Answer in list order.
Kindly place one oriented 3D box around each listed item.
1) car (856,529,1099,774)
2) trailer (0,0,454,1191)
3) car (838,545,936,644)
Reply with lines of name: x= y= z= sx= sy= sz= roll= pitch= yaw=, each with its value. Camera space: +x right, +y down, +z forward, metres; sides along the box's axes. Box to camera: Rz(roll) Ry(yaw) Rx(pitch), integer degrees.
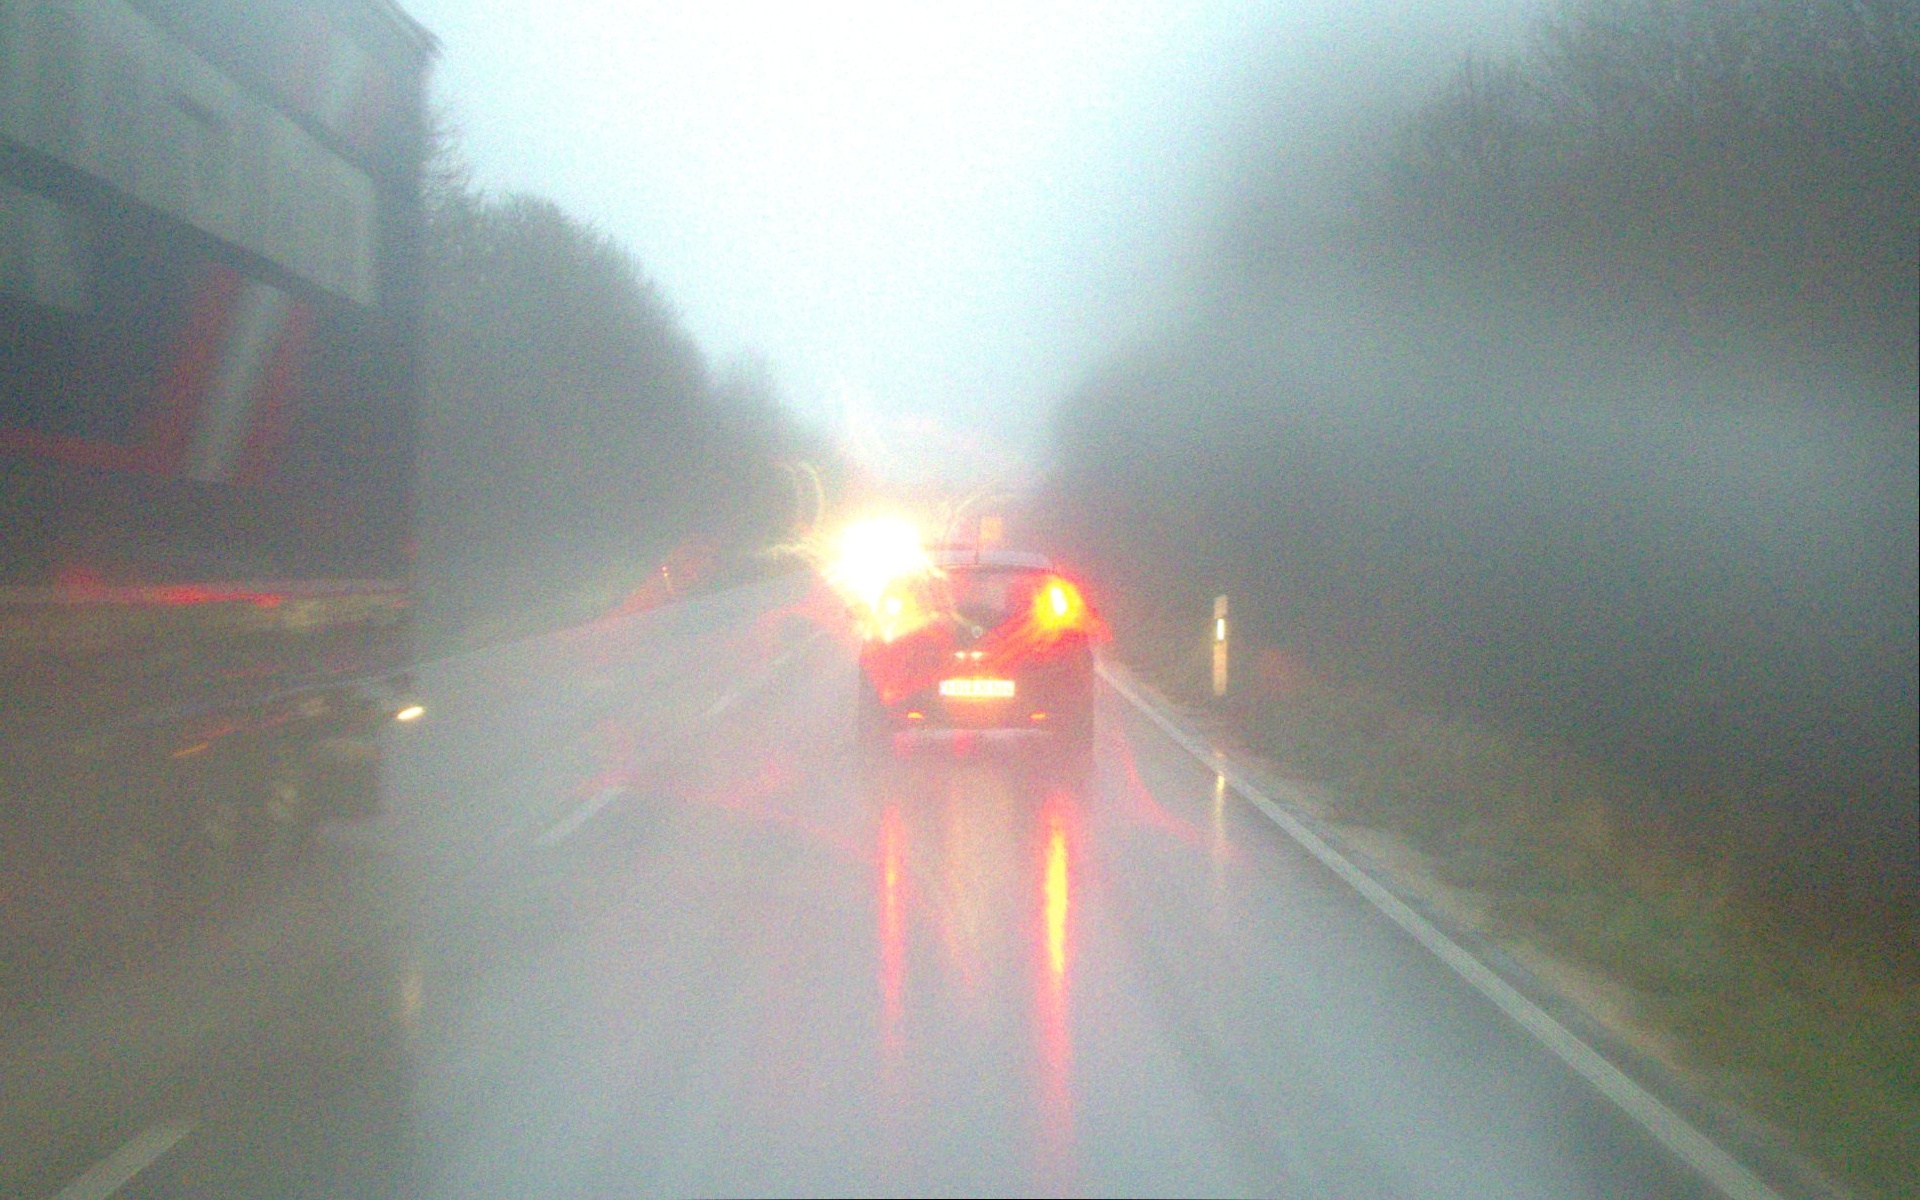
car: x=0.147 y=0.327 z=25.374 sx=1.648 sy=1.666 sz=3.514 roll=1 pitch=1 yaw=1
trailer: x=-3.818 y=-0.737 z=10.973 sx=2.671 sy=4.442 sz=12.243 roll=1 pitch=1 yaw=-1
car: x=-1.334 y=-0.125 z=64.068 sx=1.733 sy=1.773 sz=4.000 roll=1 pitch=1 yaw=0
